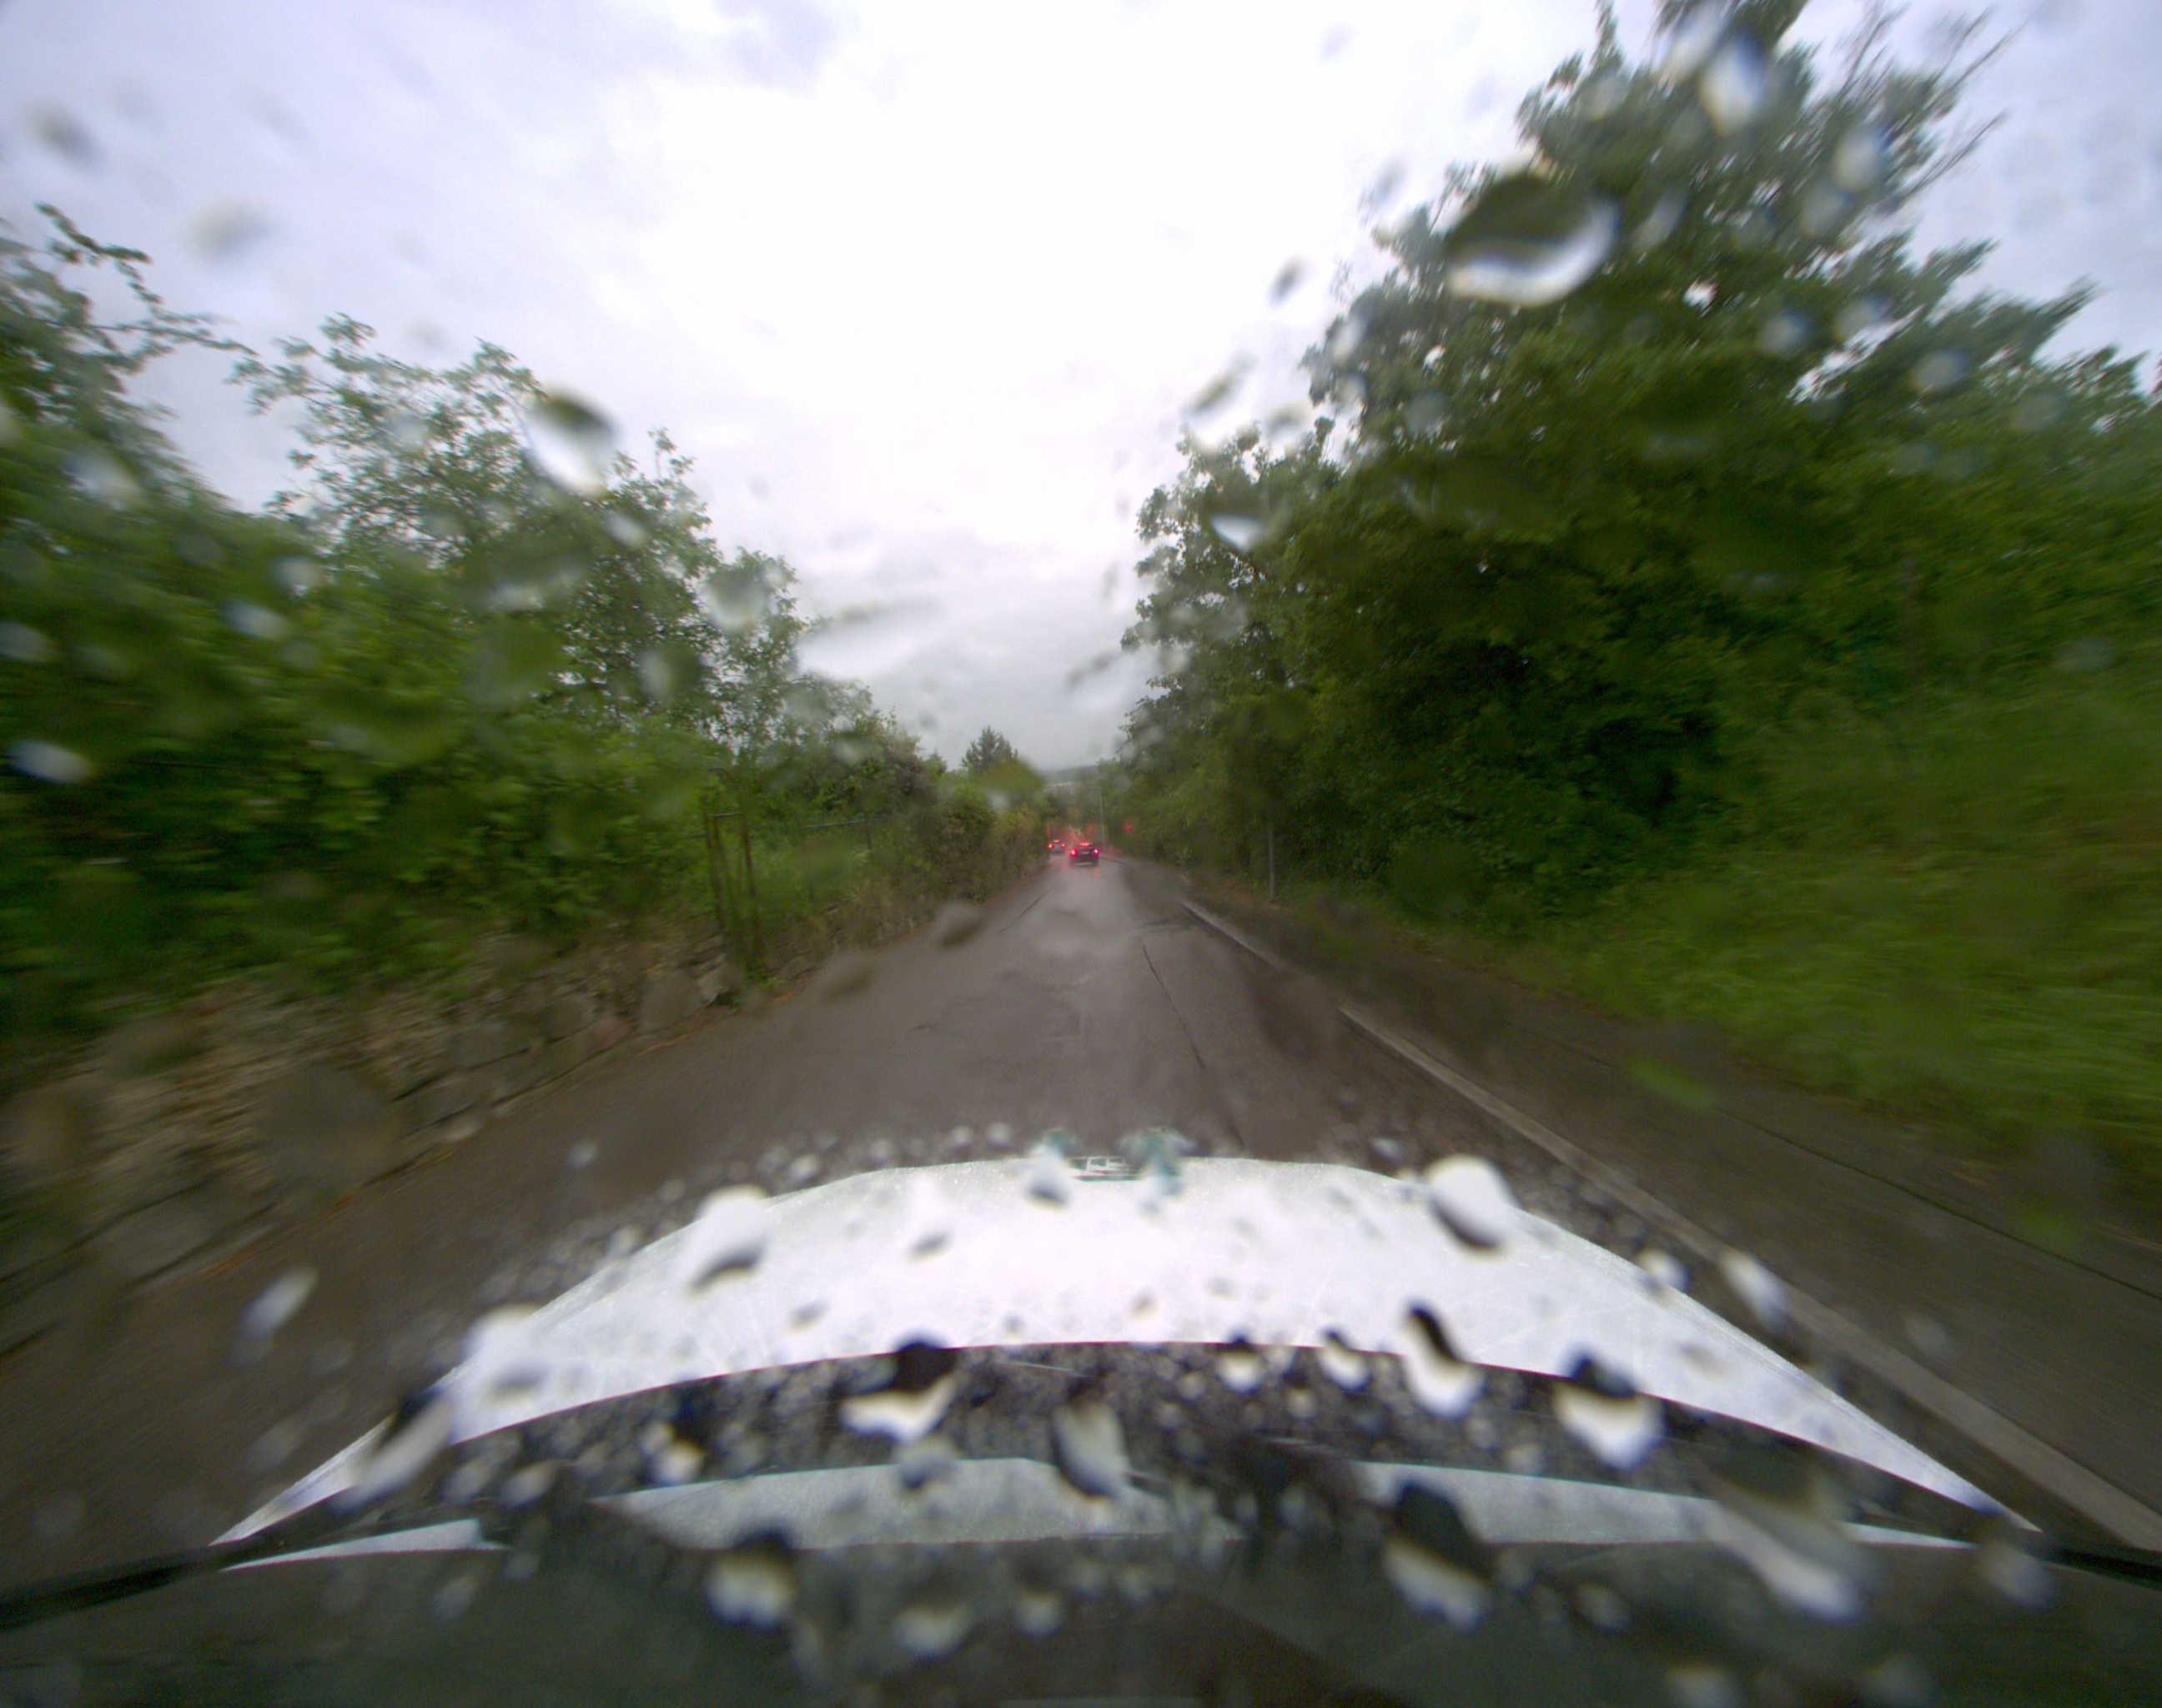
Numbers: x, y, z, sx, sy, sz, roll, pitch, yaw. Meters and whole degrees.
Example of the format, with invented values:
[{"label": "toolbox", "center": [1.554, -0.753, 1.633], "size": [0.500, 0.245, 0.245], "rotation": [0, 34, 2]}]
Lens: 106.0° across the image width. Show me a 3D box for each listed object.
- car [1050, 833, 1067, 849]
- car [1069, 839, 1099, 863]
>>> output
[{"label": "car", "center": [-2.426, -1.431, 88.158], "size": [1.672, 1.565, 3.796], "rotation": [-1, 3, 1]}, {"label": "car", "center": [0.190, -0.236, 52.240], "size": [1.829, 1.464, 3.999], "rotation": [-1, 1, 0]}]
